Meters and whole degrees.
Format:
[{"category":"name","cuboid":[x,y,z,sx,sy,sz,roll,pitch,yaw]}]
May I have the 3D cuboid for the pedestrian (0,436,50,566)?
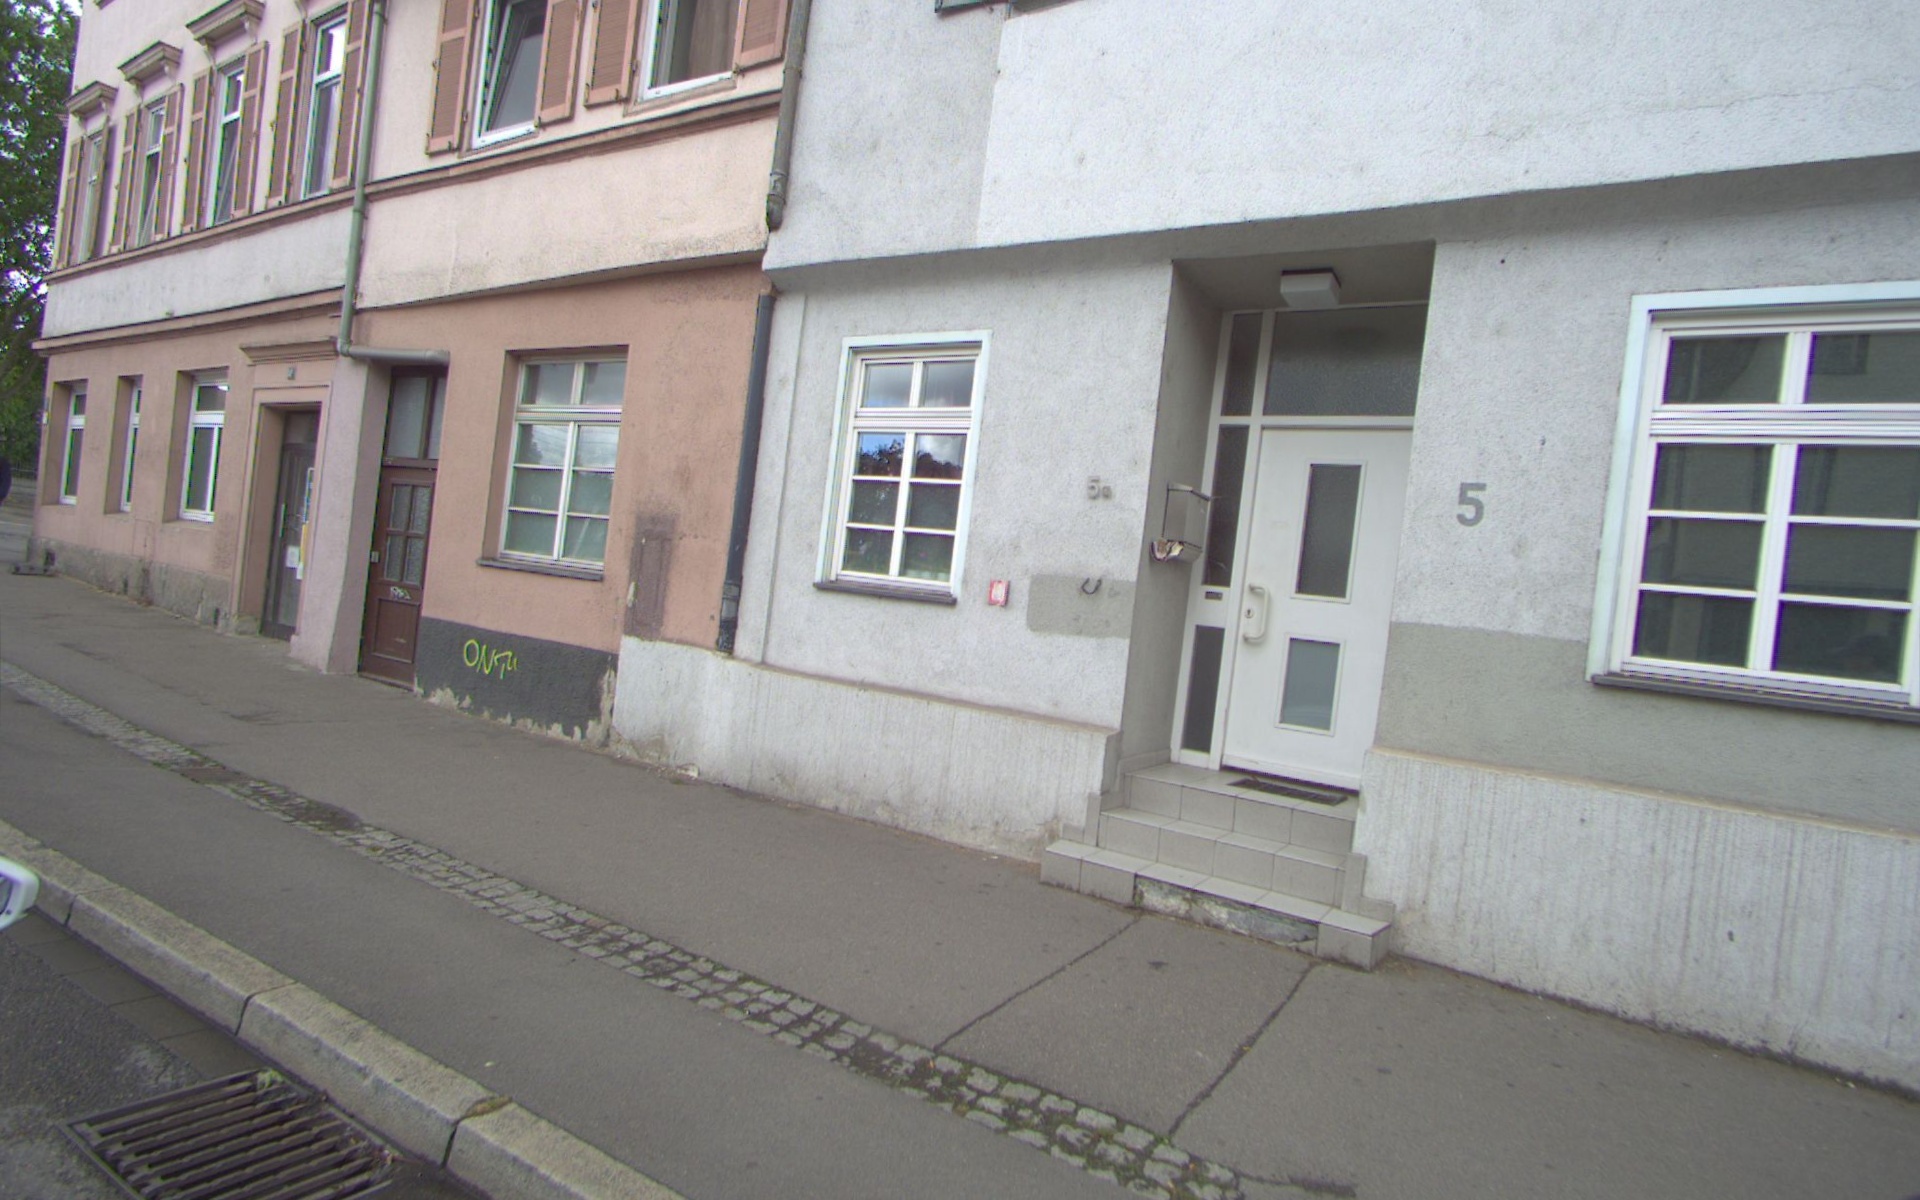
[{"category":"pedestrian","cuboid":[-14.464,-1.503,14.939,0.666,1.880,1.153,7,2,3]}]
